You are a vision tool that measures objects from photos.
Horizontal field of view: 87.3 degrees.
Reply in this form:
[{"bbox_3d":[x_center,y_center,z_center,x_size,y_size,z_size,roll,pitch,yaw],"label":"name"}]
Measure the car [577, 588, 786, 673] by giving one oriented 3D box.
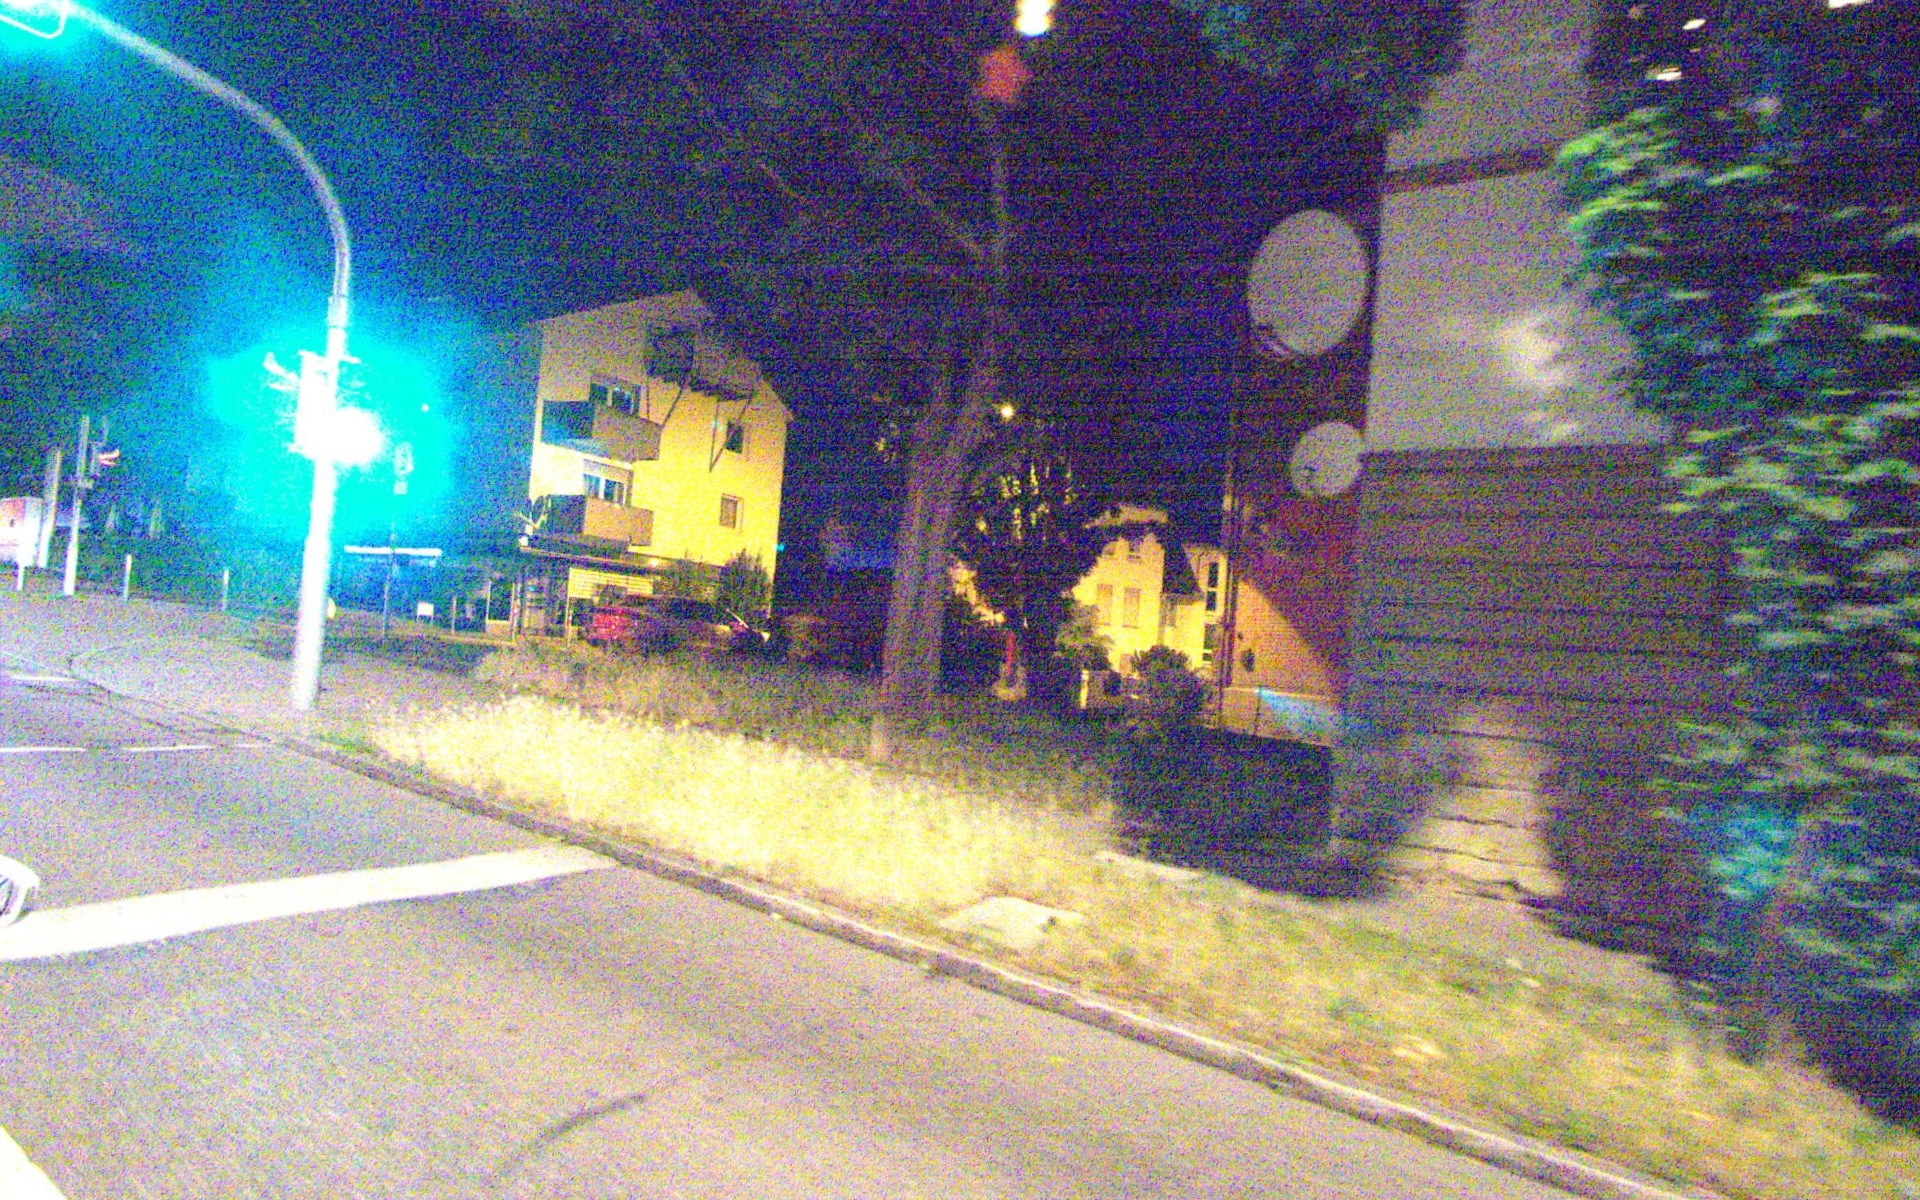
[{"bbox_3d":[-6.295,0.755,23.163,1.778,1.577,4.366,3,-4,38],"label":"car"}]
